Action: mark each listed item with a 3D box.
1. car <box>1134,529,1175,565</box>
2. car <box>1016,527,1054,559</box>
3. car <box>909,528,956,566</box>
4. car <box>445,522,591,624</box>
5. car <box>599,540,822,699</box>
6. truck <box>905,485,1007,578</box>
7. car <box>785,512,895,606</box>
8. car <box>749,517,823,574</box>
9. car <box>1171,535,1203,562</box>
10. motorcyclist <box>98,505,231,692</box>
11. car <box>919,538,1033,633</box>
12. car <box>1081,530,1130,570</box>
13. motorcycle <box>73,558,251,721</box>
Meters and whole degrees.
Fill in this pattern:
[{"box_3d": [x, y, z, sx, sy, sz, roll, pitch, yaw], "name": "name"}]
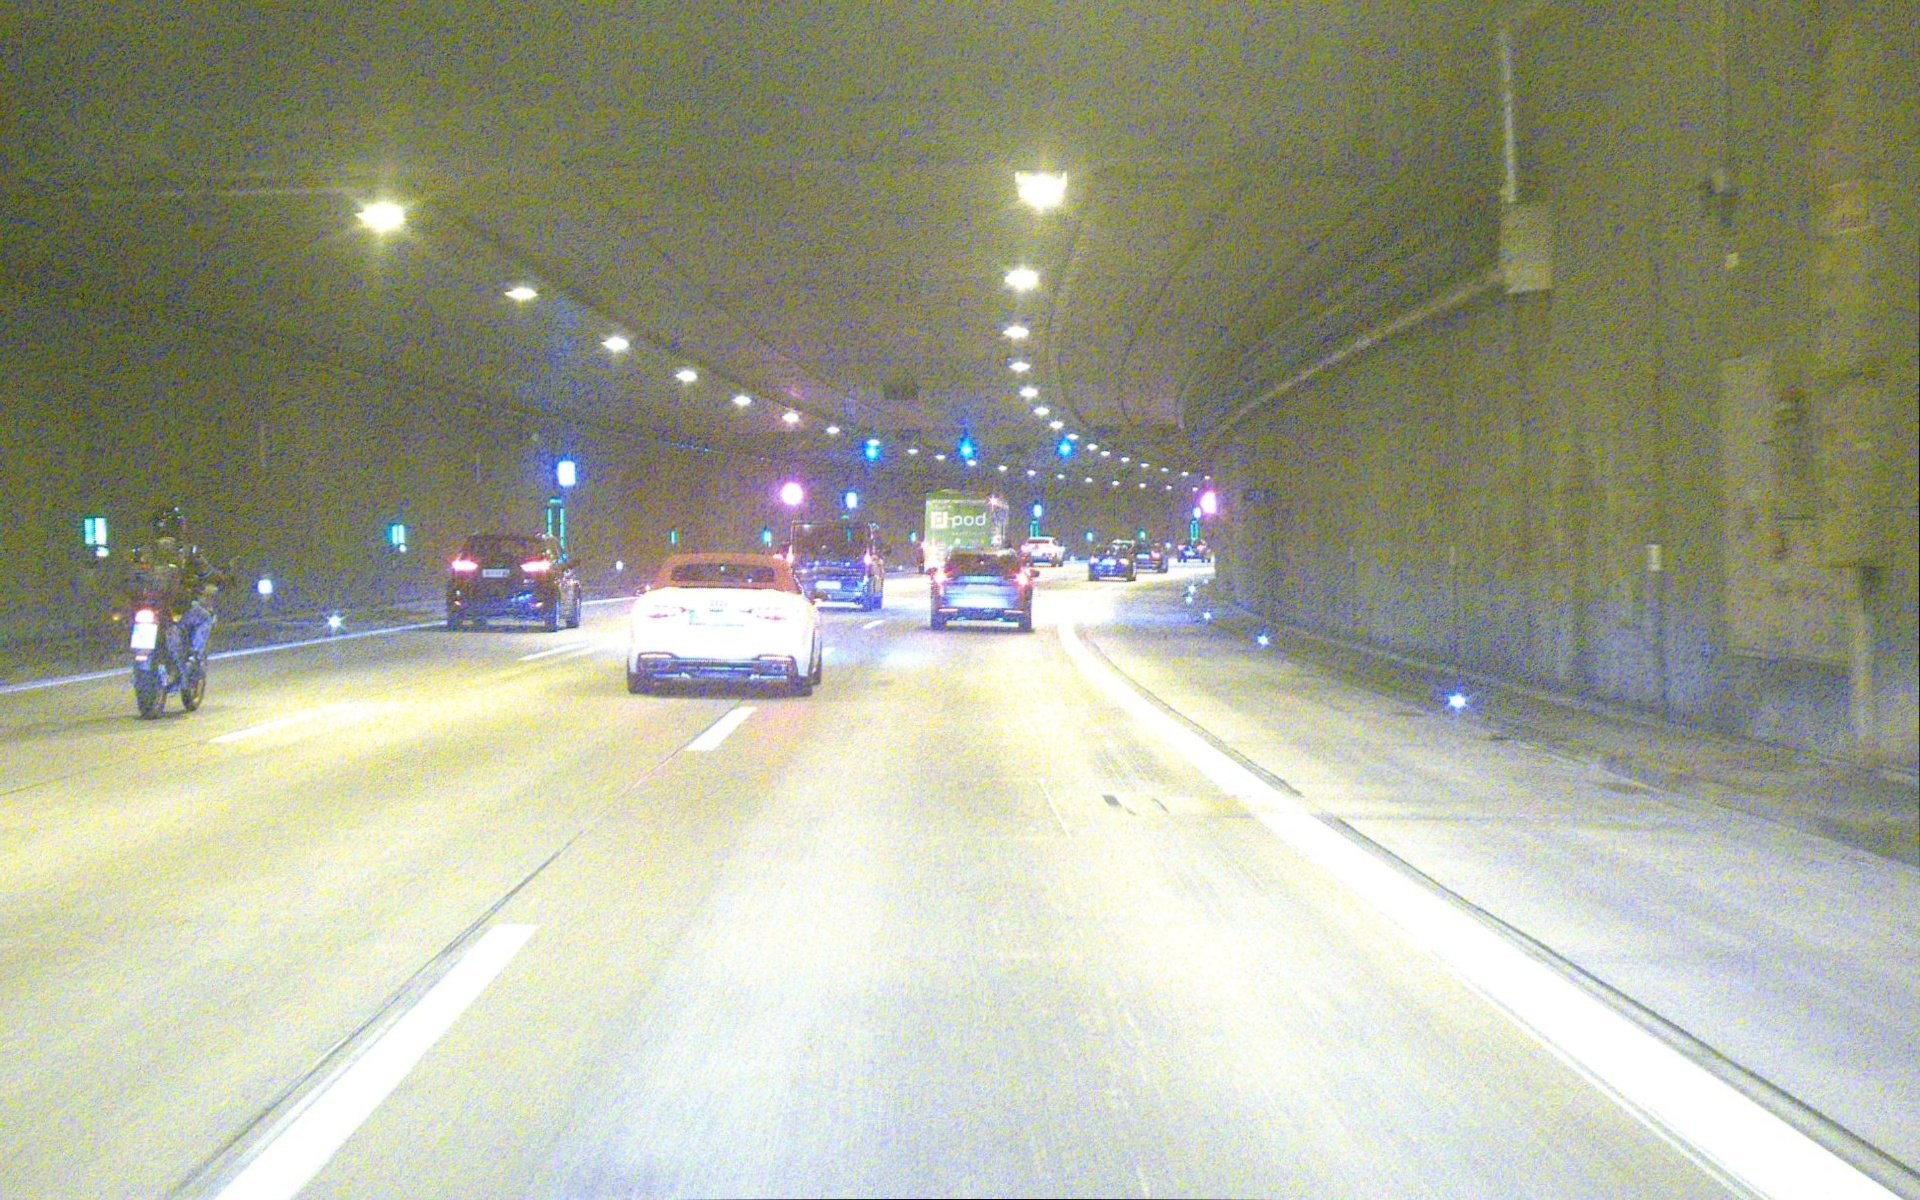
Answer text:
[{"box_3d": [9.306, -2.562, 164.981, 1.859, 1.660, 4.000, -1, 1, 2], "name": "car"}, {"box_3d": [3.923, -2.978, 179.999, 1.830, 1.612, 4.000, -1, 1, 0], "name": "car"}, {"box_3d": [-1.173, -2.268, 146.368, 1.843, 1.598, 4.000, -1, 1, 1], "name": "car"}, {"box_3d": [-7.102, -0.460, 55.536, 1.785, 1.593, 3.801, 0, 1, 1], "name": "car"}, {"box_3d": [-2.445, 0.151, 34.602, 1.993, 1.478, 4.000, 1, 1, -1], "name": "car"}, {"box_3d": [-0.081, -2.530, 123.487, 3.083, 3.102, 10.029, -2, 2, 3], "name": "truck"}, {"box_3d": [-2.601, -0.911, 75.263, 1.994, 1.965, 4.000, 1, 1, 4], "name": "car"}, {"box_3d": [-5.408, -1.695, 107.349, 1.800, 1.678, 4.000, -3, 1, 3], "name": "car"}, {"box_3d": [14.192, -3.224, 215.030, 1.834, 1.685, 3.999, -1, 1, 6], "name": "car"}, {"box_3d": [-6.468, -0.021, 27.974, 0.839, 1.472, 0.821, 2, 1, 1], "name": "motorcyclist"}, {"box_3d": [0.252, -0.282, 61.730, 1.839, 1.597, 4.000, 2, 1, -2], "name": "car"}, {"box_3d": [5.755, -2.003, 136.552, 1.844, 1.562, 4.000, -1, 1, 1], "name": "car"}, {"box_3d": [-6.489, 0.293, 28.097, 0.845, 1.241, 2.604, 1, 1, 0], "name": "motorcycle"}]
